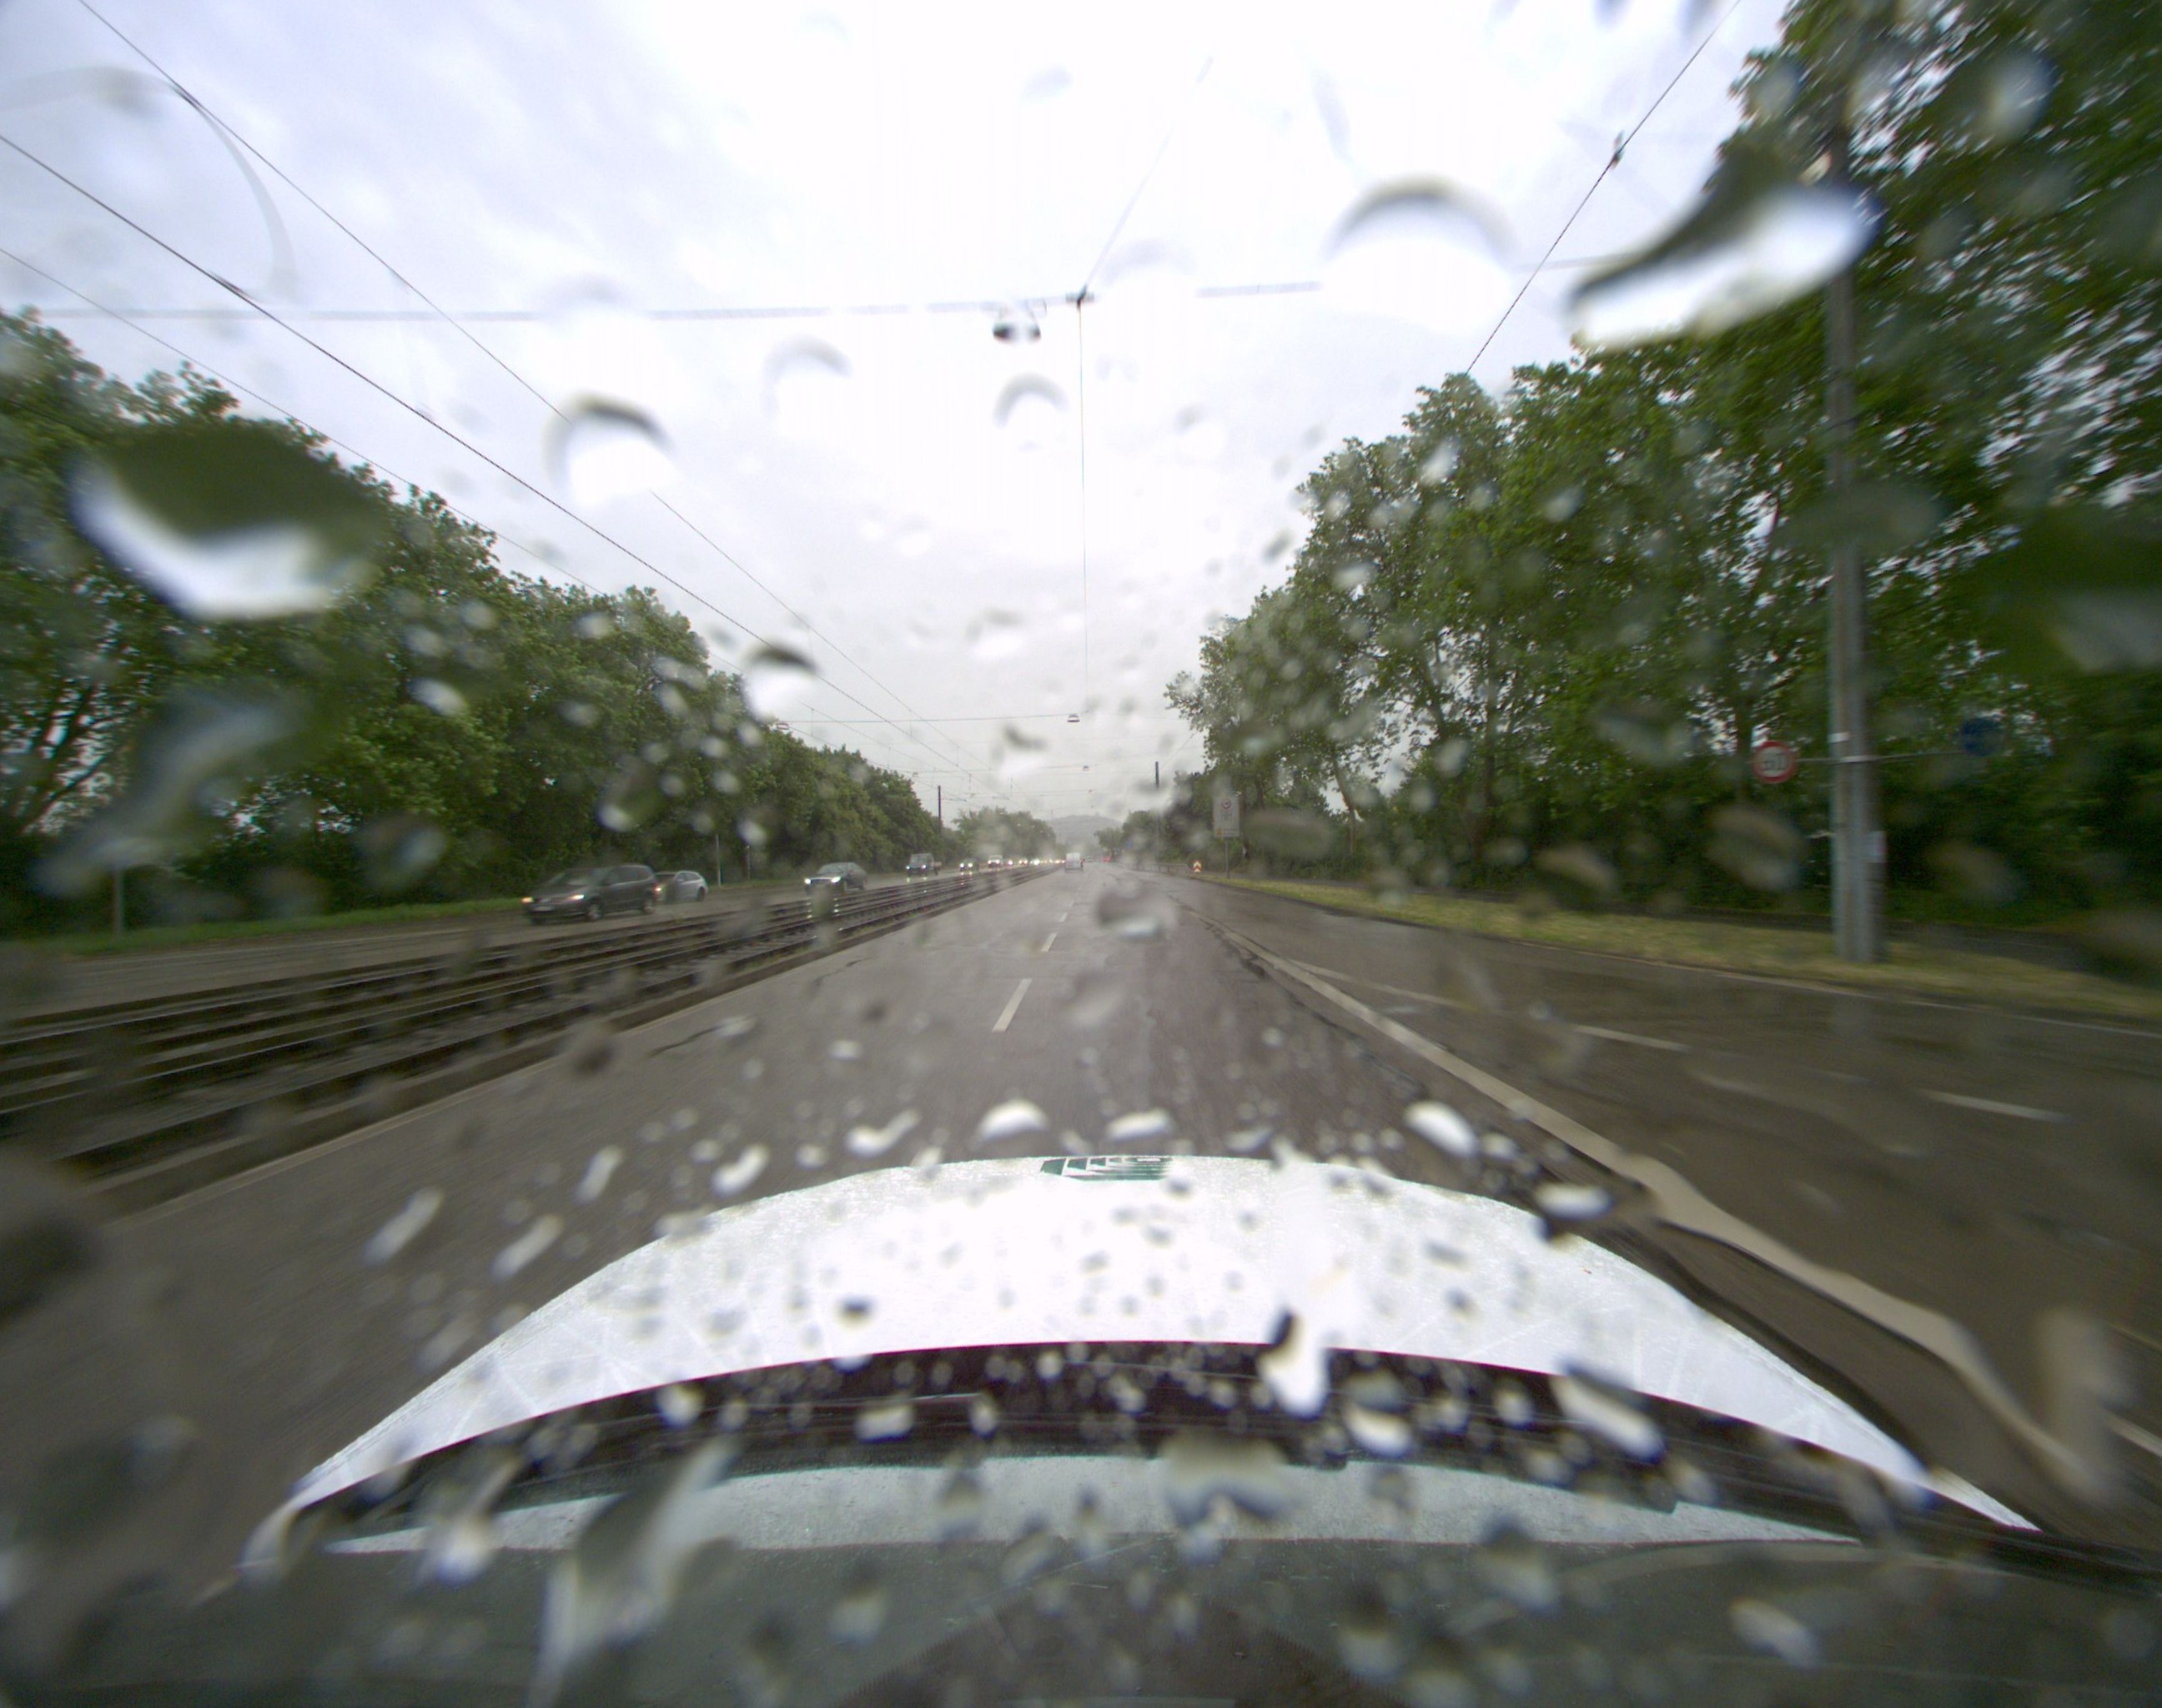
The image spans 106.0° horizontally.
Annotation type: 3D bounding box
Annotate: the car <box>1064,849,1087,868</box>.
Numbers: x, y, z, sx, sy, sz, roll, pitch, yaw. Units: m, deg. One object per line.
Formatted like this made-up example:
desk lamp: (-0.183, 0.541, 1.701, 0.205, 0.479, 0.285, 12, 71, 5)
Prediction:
car: (-0.484, 0.396, 77.189, 1.981, 1.684, 3.742, 0, 1, 3)

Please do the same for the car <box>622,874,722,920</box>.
car: (-18.021, 1.833, 36.198, 1.813, 1.705, 5.022, 0, 1, 1)

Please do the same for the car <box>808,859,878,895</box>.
car: (-11.918, 1.098, 41.232, 1.769, 1.585, 5.683, 0, 1, 1)

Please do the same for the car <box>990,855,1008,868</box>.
car: (-12.782, 1.143, 127.410, 2.031, 1.775, 4.990, 0, 1, 3)

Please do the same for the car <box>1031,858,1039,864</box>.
car: (-11.396, 1.684, 202.567, 1.791, 1.453, 4.196, 0, 1, 2)

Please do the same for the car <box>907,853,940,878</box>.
car: (-16.048, 1.075, 83.394, 2.092, 2.343, 6.989, 0, 1, 0)

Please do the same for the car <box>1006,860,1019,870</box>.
car: (-12.216, 1.949, 145.035, 1.681, 1.519, 4.617, 0, 1, 4)

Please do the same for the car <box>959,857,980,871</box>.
car: (-14.178, 1.251, 103.749, 1.833, 1.716, 4.168, 0, 1, 4)

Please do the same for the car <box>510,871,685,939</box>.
car: (-15.102, 1.501, 26.000, 1.813, 1.705, 6.106, 0, 1, 1)

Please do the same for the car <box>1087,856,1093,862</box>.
car: (2.497, 1.395, 223.253, 1.737, 1.508, 3.700, 0, 1, 1)

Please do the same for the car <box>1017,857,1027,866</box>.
car: (-12.725, 1.554, 174.789, 1.748, 1.711, 4.001, 0, 1, 1)
